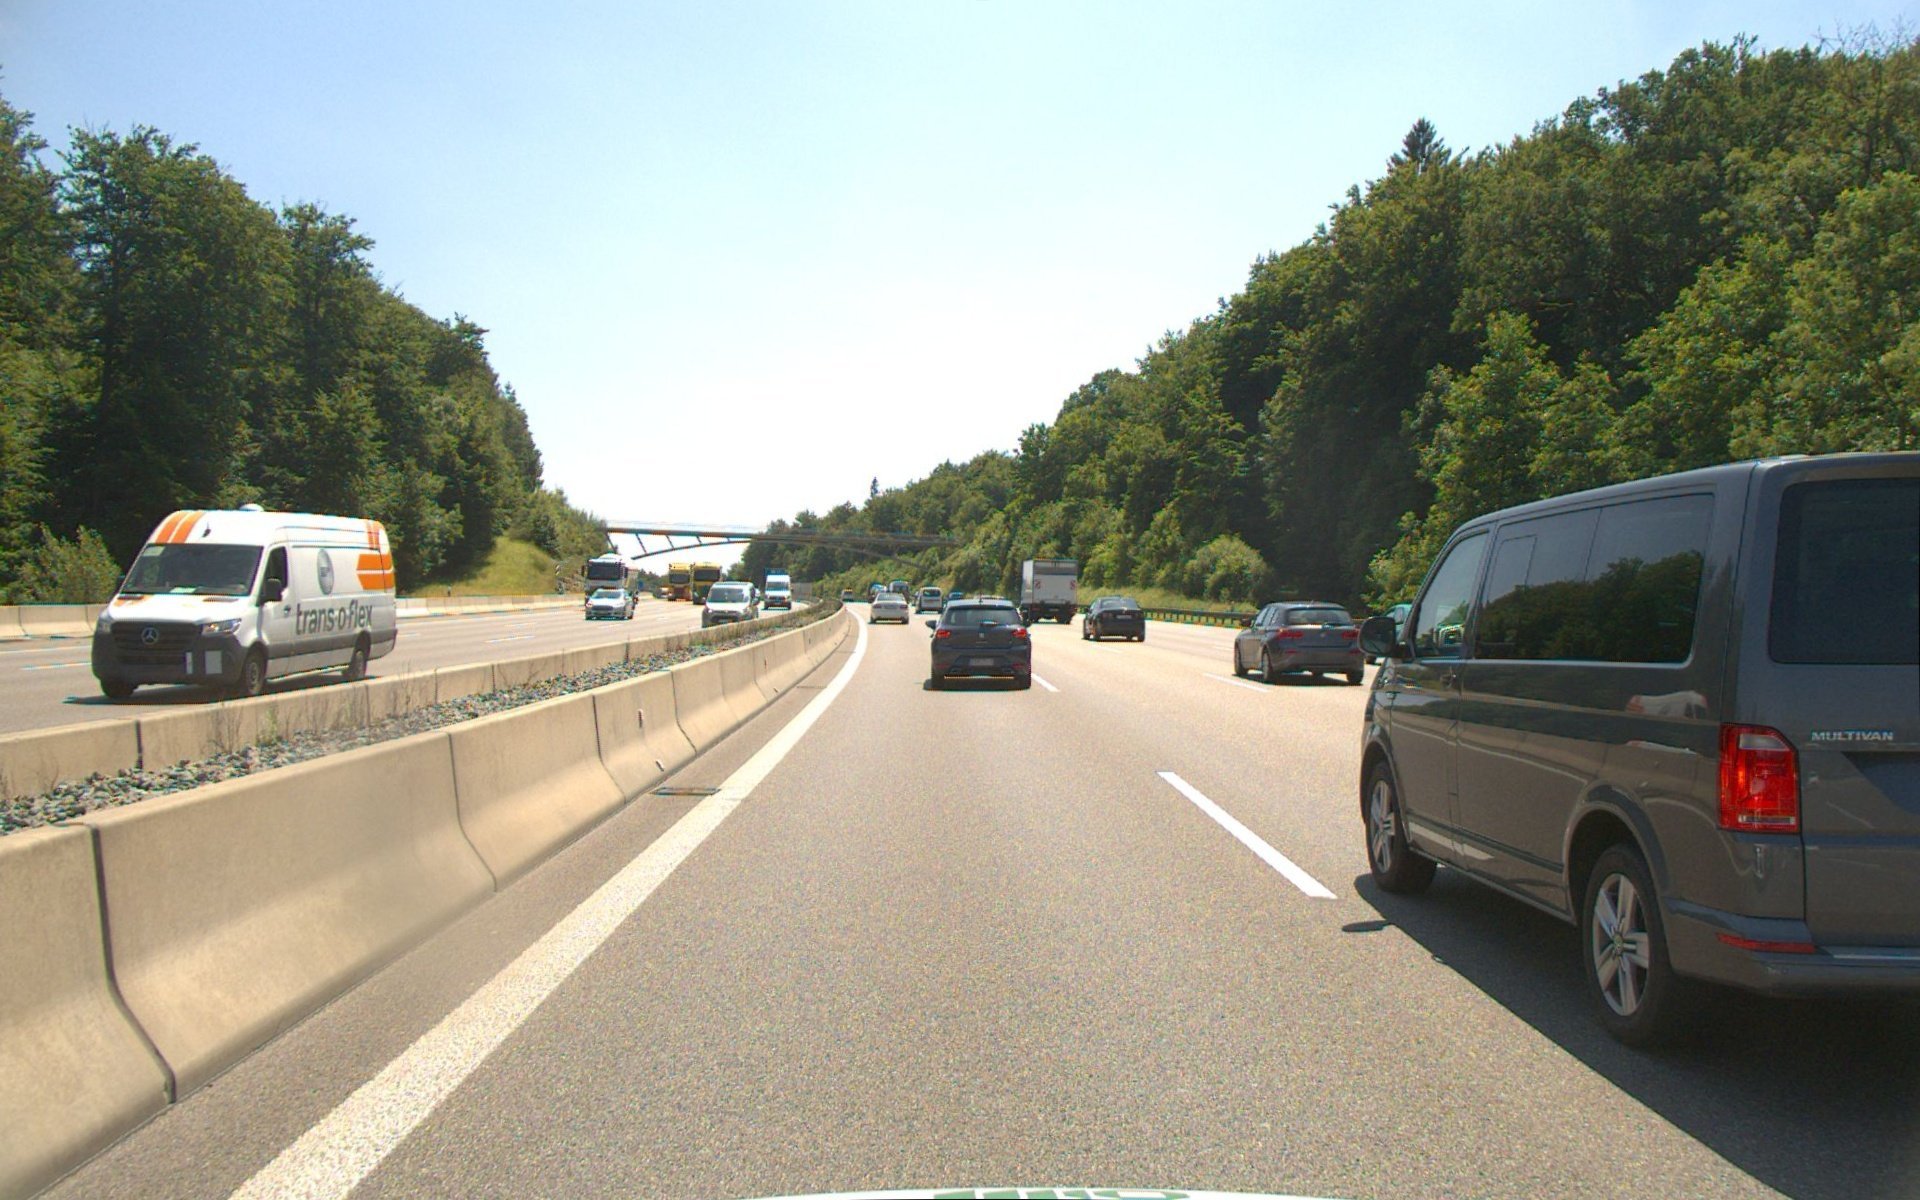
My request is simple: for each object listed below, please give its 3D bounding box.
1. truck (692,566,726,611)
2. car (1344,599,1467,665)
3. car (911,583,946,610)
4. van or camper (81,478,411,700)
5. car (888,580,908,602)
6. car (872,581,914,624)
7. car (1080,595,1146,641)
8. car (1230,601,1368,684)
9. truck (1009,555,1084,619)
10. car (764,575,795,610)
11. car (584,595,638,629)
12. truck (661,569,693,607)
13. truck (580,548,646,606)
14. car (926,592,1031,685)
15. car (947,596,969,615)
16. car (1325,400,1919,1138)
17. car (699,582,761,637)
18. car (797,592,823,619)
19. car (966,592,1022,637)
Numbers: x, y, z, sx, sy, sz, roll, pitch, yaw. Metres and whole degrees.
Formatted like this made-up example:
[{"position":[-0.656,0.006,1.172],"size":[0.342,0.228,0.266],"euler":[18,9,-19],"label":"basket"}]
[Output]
[{"position":[-22.815,-1.009,150.382],"size":[2.481,4.009,6.796],"euler":[1,0,-4],"label":"truck"},{"position":[10.431,0.734,39.016],"size":[1.514,1.469,4.338],"euler":[0,0,-3],"label":"car"},{"position":[-2.205,-0.246,114.932],"size":[2.062,1.775,4.682],"euler":[1,0,-6],"label":"car"},{"position":[-10.476,-0.140,25.126],"size":[1.953,2.848,7.412],"euler":[1,0,-2],"label":"van or camper"},{"position":[-7.115,-0.993,188.755],"size":[2.220,2.413,4.699],"euler":[1,-1,-3],"label":"car"},{"position":[-3.294,0.156,80.462],"size":[1.972,1.878,3.997],"euler":[1,-3,-3],"label":"car"},{"position":[5.131,0.577,55.910],"size":[1.632,1.433,4.901],"euler":[1,0,-2],"label":"car"},{"position":[6.188,0.737,30.613],"size":[1.667,1.420,4.153],"euler":[1,0,0],"label":"car"},{"position":[4.513,-0.682,88.054],"size":[2.927,3.222,7.566],"euler":[1,0,-5],"label":"truck"},{"position":[-13.435,-0.556,123.172],"size":[2.113,2.533,4.697],"euler":[0,0,-5],"label":"car"},{"position":[-16.805,0.575,79.850],"size":[1.727,1.508,4.492],"euler":[2,0,-1],"label":"car"},{"position":[-31.134,-1.346,182.343],"size":[2.696,4.088,6.747],"euler":[1,0,-4],"label":"truck"},{"position":[-22.794,-1.434,109.118],"size":[2.558,3.526,9.876],"euler":[2,0,-3],"label":"truck"},{"position":[0.264,0.624,28.606],"size":[1.673,1.458,3.999],"euler":[1,0,-1],"label":"car"},{"position":[-0.233,0.592,173.098],"size":[2.102,1.890,3.998],"euler":[2,-1,-2],"label":"car"},{"position":[3.166,0.482,7.216],"size":[1.923,2.069,5.082],"euler":[1,0,-1],"label":"car"},{"position":[-8.344,0.329,60.320],"size":[1.782,1.904,4.586],"euler":[0,0,-3],"label":"car"},{"position":[-12.468,0.489,137.697],"size":[1.953,2.049,3.997],"euler":[2,-2,-2],"label":"car"},{"position":[1.361,0.618,67.373],"size":[1.954,1.758,4.146],"euler":[1,-2,-3],"label":"car"}]
